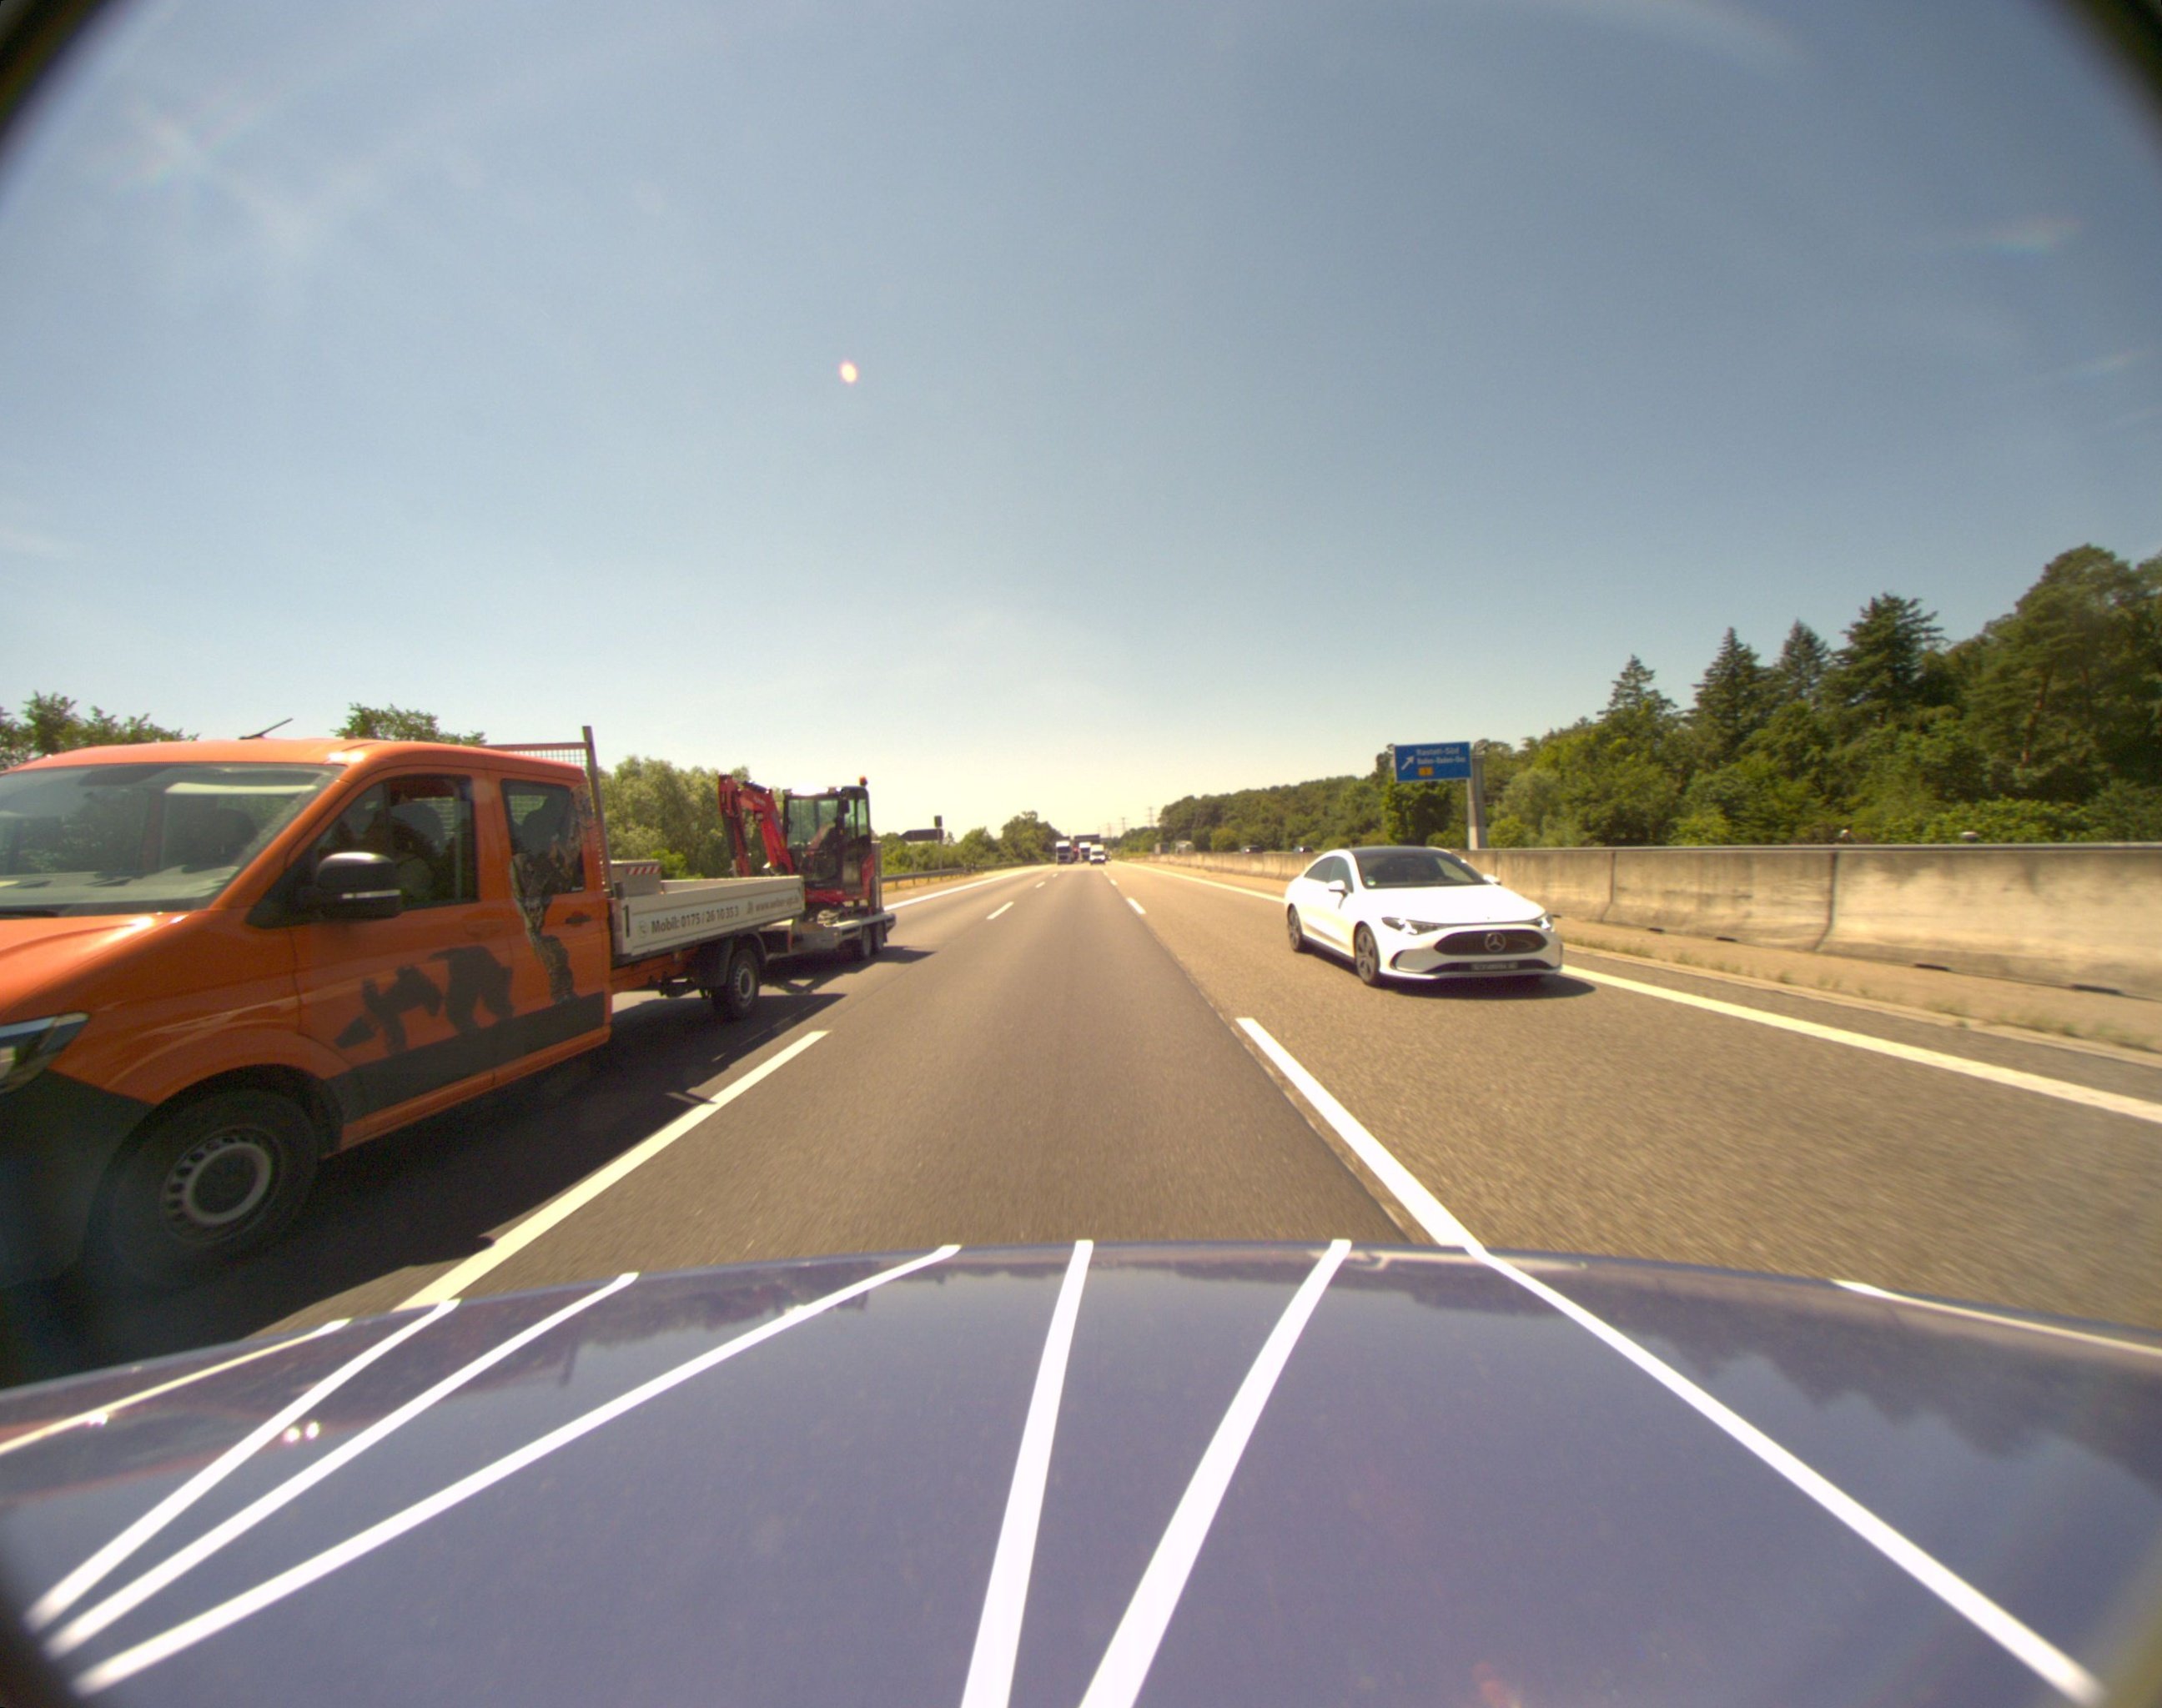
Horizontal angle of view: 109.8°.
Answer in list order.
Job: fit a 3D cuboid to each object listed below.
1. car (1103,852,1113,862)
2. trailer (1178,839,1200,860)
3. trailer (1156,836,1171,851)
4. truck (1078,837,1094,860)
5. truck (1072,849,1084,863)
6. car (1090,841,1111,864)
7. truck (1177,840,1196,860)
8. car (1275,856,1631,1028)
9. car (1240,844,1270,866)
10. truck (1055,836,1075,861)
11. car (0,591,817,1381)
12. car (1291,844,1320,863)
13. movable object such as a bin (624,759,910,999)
[{"bbox_3d":[5.698,0.720,160.830,1.998,2.002,4.000,-2,0,1],"label":"car"},{"bbox_3d":[23.056,-0.876,162.247,2.814,4.023,10.430,-5,0,0],"label":"trailer"},{"bbox_3d":[23.978,-3.103,221.046,2.992,4.053,11.773,-3,0,1],"label":"trailer"},{"bbox_3d":[1.057,-1.151,155.350,2.700,4.231,8.244,-5,0,2],"label":"truck"},{"bbox_3d":[-0.765,0.508,216.876,2.852,3.747,6.495,-5,0,1],"label":"truck"},{"bbox_3d":[2.680,-0.233,102.466,2.521,2.857,6.400,-5,0,2],"label":"car"},{"bbox_3d":[23.061,-0.956,166.294,2.814,4.024,7.729,-5,0,0],"label":"truck"},{"bbox_3d":[3.857,0.771,9.088,1.771,1.440,5.108,-1,0,1],"label":"car"},{"bbox_3d":[17.189,0.070,75.212,1.998,2.002,4.000,-5,0,1],"label":"car"},{"bbox_3d":[-2.737,-0.943,136.168,2.990,4.187,7.593,-3,0,2],"label":"truck"},{"bbox_3d":[-4.241,0.412,5.435,1.998,2.391,7.226,-2,0,1],"label":"car"},{"bbox_3d":[24.772,-0.095,84.134,1.998,2.002,4.429,-2,0,2],"label":"car"},{"bbox_3d":[-4.292,0.296,11.486,2.179,2.799,4.761,-2,0,1],"label":"movable object such as a bin"}]
